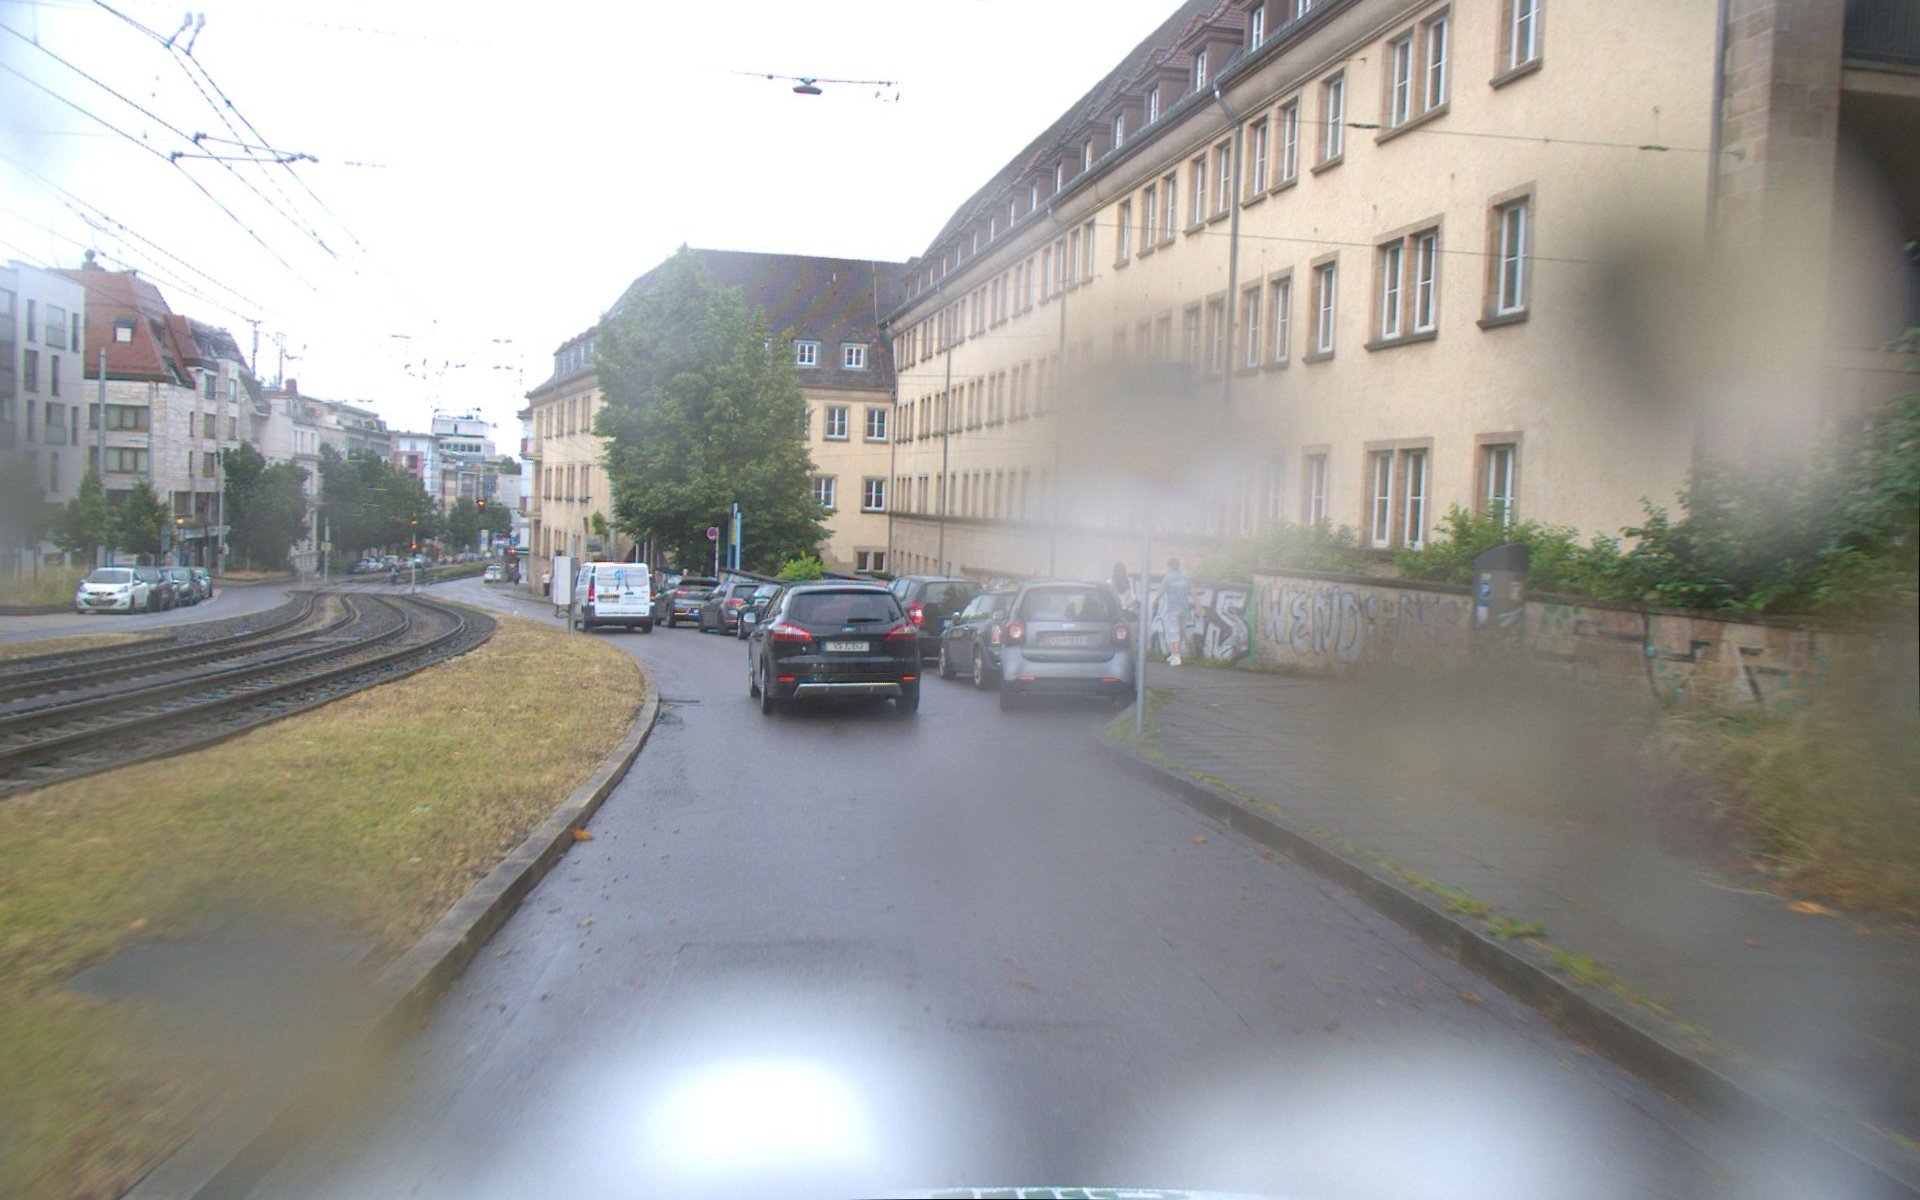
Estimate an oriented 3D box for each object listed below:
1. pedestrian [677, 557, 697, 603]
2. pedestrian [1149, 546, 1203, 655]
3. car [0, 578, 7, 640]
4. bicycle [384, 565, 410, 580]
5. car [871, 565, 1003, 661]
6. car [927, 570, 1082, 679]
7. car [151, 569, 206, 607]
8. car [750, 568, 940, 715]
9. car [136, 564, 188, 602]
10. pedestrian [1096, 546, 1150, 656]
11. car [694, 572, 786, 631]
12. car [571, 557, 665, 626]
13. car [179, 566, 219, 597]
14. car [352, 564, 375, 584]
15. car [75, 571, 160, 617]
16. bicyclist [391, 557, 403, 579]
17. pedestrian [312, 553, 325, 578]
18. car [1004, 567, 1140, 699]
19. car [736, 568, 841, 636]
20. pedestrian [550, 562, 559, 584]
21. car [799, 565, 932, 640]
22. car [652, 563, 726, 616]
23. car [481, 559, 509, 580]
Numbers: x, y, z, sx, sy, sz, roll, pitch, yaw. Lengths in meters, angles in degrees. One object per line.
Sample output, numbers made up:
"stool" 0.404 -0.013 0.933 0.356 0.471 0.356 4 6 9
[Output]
"pedestrian" -10.608 -0.781 64.246 0.623 1.751 0.707 0 1 -20
"pedestrian" 3.598 -0.002 27.640 0.704 1.785 0.737 -1 1 -10
"car" -23.101 0.225 36.951 1.931 1.456 4.187 1 1 -12
"bicycle" -42.744 -2.074 125.620 1.786 1.082 0.451 1 1 -41
"car" -0.482 0.172 29.933 1.636 1.600 3.844 -1 1 -12
"car" 0.586 0.302 24.612 1.509 1.441 3.633 -1 2 -12
"car" -33.016 -0.538 69.960 1.694 1.539 4.293 0 1 -20
"car" -1.474 0.396 19.707 1.885 1.505 3.992 0 2 -10
"car" -31.414 -0.682 65.175 1.526 1.460 3.430 0 1 -20
"pedestrian" 2.697 0.009 27.419 0.704 1.785 0.737 -1 1 -10
"car" -6.117 -0.005 45.719 1.641 1.502 4.084 -1 2 -21
"car" -9.545 -0.278 45.912 2.104 1.775 4.197 -1 2 -18
"car" -38.500 -0.935 83.726 1.750 1.530 4.053 -1 1 -24
"car" -63.302 -2.735 175.598 1.961 2.048 3.983 0 1 -16
"car" -28.445 -0.237 55.937 1.736 1.505 3.721 0 1 -14
"bicyclist" -42.747 -2.429 125.610 0.695 1.601 0.456 1 1 -40
"pedestrian" -50.521 -2.699 130.245 0.893 1.965 0.819 0 1 -26
"car" 1.357 0.358 20.515 1.564 1.491 2.722 -1 1 2
"car" -4.217 -0.003 40.109 1.640 1.502 4.435 -1 2 -18
"pedestrian" -24.900 -1.676 101.596 0.497 1.338 0.508 0 1 -22
"car" -2.093 0.026 35.496 1.642 1.502 4.039 1 1 -22
"car" -8.424 -0.352 51.137 1.640 1.550 4.088 -1 2 -18
"car" -40.639 -2.672 144.651 1.957 1.803 3.991 0 1 -10
